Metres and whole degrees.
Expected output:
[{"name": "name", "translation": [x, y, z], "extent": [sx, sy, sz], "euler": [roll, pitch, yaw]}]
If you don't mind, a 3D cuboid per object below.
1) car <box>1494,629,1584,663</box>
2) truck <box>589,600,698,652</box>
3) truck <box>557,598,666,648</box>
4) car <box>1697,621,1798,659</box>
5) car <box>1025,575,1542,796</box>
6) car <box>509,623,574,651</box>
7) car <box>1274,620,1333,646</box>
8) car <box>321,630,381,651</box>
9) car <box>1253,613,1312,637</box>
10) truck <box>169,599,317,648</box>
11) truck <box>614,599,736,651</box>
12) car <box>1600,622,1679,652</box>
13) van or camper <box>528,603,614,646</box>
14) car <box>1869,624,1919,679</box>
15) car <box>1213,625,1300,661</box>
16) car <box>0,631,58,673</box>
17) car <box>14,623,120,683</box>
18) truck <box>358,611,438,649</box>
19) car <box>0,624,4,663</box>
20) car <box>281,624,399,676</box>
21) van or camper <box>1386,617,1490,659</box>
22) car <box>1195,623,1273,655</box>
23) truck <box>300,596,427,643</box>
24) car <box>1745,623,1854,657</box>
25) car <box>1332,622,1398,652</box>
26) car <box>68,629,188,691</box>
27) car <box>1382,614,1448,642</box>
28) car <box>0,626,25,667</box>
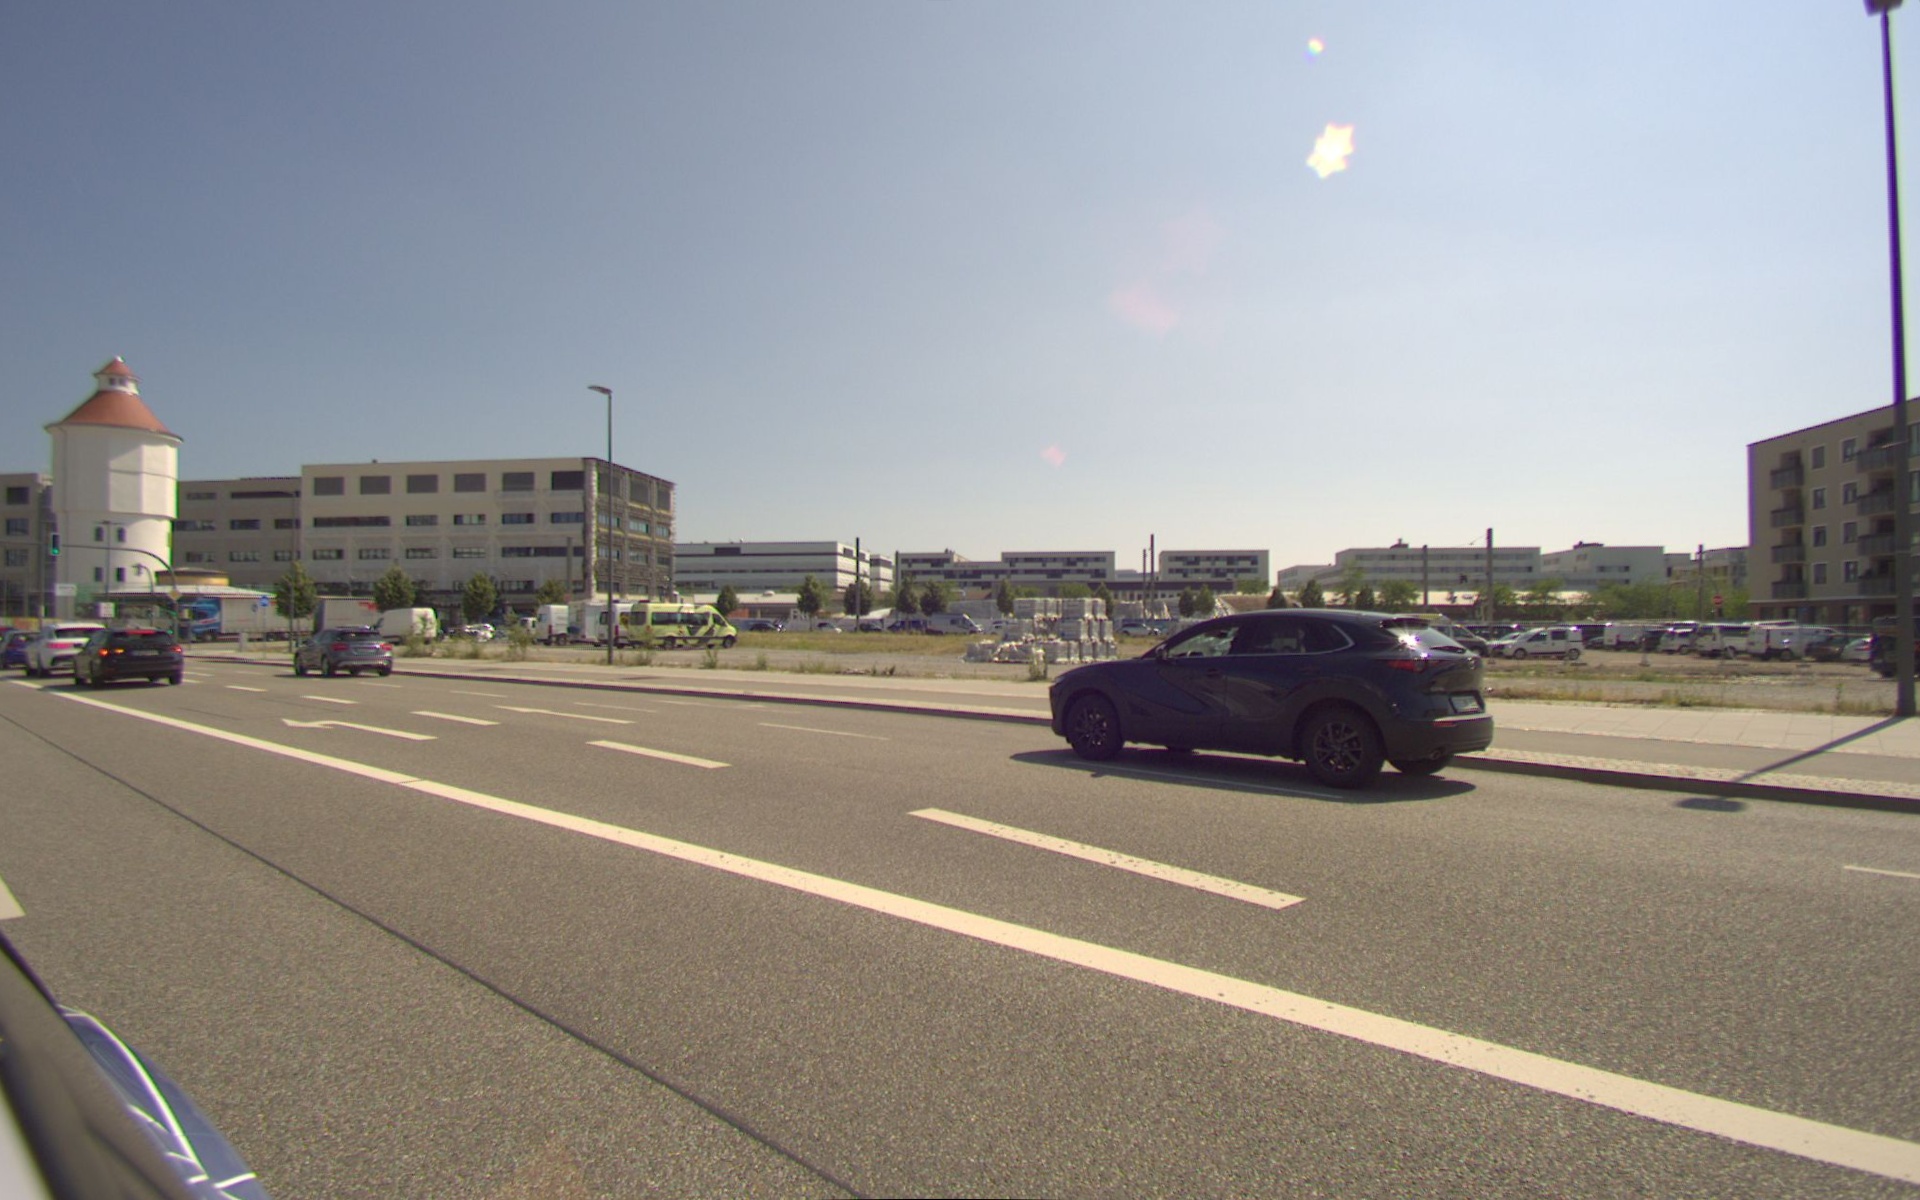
[{"name": "car", "translation": [32.657, 2.570, 57.207], "extent": [3.962, 1.896, 1.990], "euler": [0, -2, 15]}, {"name": "truck", "translation": [-18.938, 1.464, 60.807], "extent": [2.570, 2.845, 5.773], "euler": [0, 1, 42]}, {"name": "truck", "translation": [-22.177, 1.388, 64.576], "extent": [2.570, 2.923, 6.080], "euler": [0, 1, 42]}, {"name": "car", "translation": [44.777, 2.248, 57.616], "extent": [3.959, 2.029, 1.992], "euler": [-1, -1, 12]}, {"name": "car", "translation": [2.878, 0.697, 9.765], "extent": [1.880, 1.640, 4.390], "euler": [2, -2, -44]}, {"name": "car", "translation": [-28.543, 2.535, 69.094], "extent": [1.655, 1.771, 3.829], "euler": [-2, -1, 37]}, {"name": "car", "translation": [26.657, 2.560, 78.676], "extent": [3.953, 2.029, 1.995], "euler": [0, -2, 8]}, {"name": "car", "translation": [-51.150, 3.382, 85.115], "extent": [1.871, 1.652, 3.963], "euler": [-1, -1, 27]}, {"name": "car", "translation": [26.816, 2.102, 84.313], "extent": [4.431, 1.985, 1.834], "euler": [0, -2, 9]}, {"name": "truck", "translation": [-64.875, 2.011, 92.003], "extent": [3.281, 4.098, 10.895], "euler": [0, 1, 23]}, {"name": "truck", "translation": [-16.509, 1.404, 59.044], "extent": [2.599, 2.847, 6.572], "euler": [-1, -1, 38]}, {"name": "car", "translation": [46.826, 2.523, 69.826], "extent": [3.959, 2.029, 1.992], "euler": [-1, -2, 12]}, {"name": "van or camper", "translation": [-25.696, 1.606, 66.995], "extent": [2.258, 2.682, 4.849], "euler": [-2, -1, 41]}, {"name": "car", "translation": [35.328, 1.785, 35.963], "extent": [3.959, 1.863, 1.992], "euler": [-1, -1, 12]}, {"name": "car", "translation": [17.136, 2.485, 58.737], "extent": [4.601, 2.029, 1.994], "euler": [0, -2, 9]}, {"name": "car", "translation": [-35.083, 1.897, 37.663], "extent": [4.280, 1.432, 1.767], "euler": [-2, -1, 42]}, {"name": "car", "translation": [-27.731, 1.564, 31.382], "extent": [4.729, 1.662, 1.893], "euler": [-1, 0, 42]}, {"name": "truck", "translation": [-41.025, 2.136, 73.813], "extent": [5.914, 2.675, 2.154], "euler": [0, -1, 27]}, {"name": "car", "translation": [-47.333, 2.104, 48.259], "extent": [4.650, 1.802, 1.920], "euler": [-2, -1, 39]}, {"name": "car", "translation": [-19.403, 1.516, 31.618], "extent": [4.384, 1.507, 1.883], "euler": [-2, -2, 41]}, {"name": "van or camper", "translation": [26.982, 2.147, 57.277], "extent": [4.881, 2.301, 1.994], "euler": [0, -2, 9]}, {"name": "car", "translation": [17.473, 2.502, 64.829], "extent": [4.601, 1.985, 1.994], "euler": [0, -2, 9]}, {"name": "truck", "translation": [-59.909, 1.846, 101.999], "extent": [3.331, 4.307, 10.840], "euler": [0, 1, 30]}, {"name": "car", "translation": [45.153, 2.140, 54.519], "extent": [3.959, 1.800, 1.992], "euler": [0, -2, 12]}, {"name": "car", "translation": [28.631, 2.614, 71.678], "extent": [3.953, 2.029, 1.995], "euler": [0, -2, 8]}, {"name": "car", "translation": [-21.309, 1.468, 25.854], "extent": [4.571, 1.409, 1.768], "euler": [-1, -1, 43]}, {"name": "car", "translation": [33.606, 2.081, 74.832], "extent": [3.952, 2.029, 1.996], "euler": [0, -2, 7]}, {"name": "car", "translation": [-41.287, 1.977, 42.997], "extent": [4.095, 1.695, 1.760], "euler": [-2, -3, 40]}]
